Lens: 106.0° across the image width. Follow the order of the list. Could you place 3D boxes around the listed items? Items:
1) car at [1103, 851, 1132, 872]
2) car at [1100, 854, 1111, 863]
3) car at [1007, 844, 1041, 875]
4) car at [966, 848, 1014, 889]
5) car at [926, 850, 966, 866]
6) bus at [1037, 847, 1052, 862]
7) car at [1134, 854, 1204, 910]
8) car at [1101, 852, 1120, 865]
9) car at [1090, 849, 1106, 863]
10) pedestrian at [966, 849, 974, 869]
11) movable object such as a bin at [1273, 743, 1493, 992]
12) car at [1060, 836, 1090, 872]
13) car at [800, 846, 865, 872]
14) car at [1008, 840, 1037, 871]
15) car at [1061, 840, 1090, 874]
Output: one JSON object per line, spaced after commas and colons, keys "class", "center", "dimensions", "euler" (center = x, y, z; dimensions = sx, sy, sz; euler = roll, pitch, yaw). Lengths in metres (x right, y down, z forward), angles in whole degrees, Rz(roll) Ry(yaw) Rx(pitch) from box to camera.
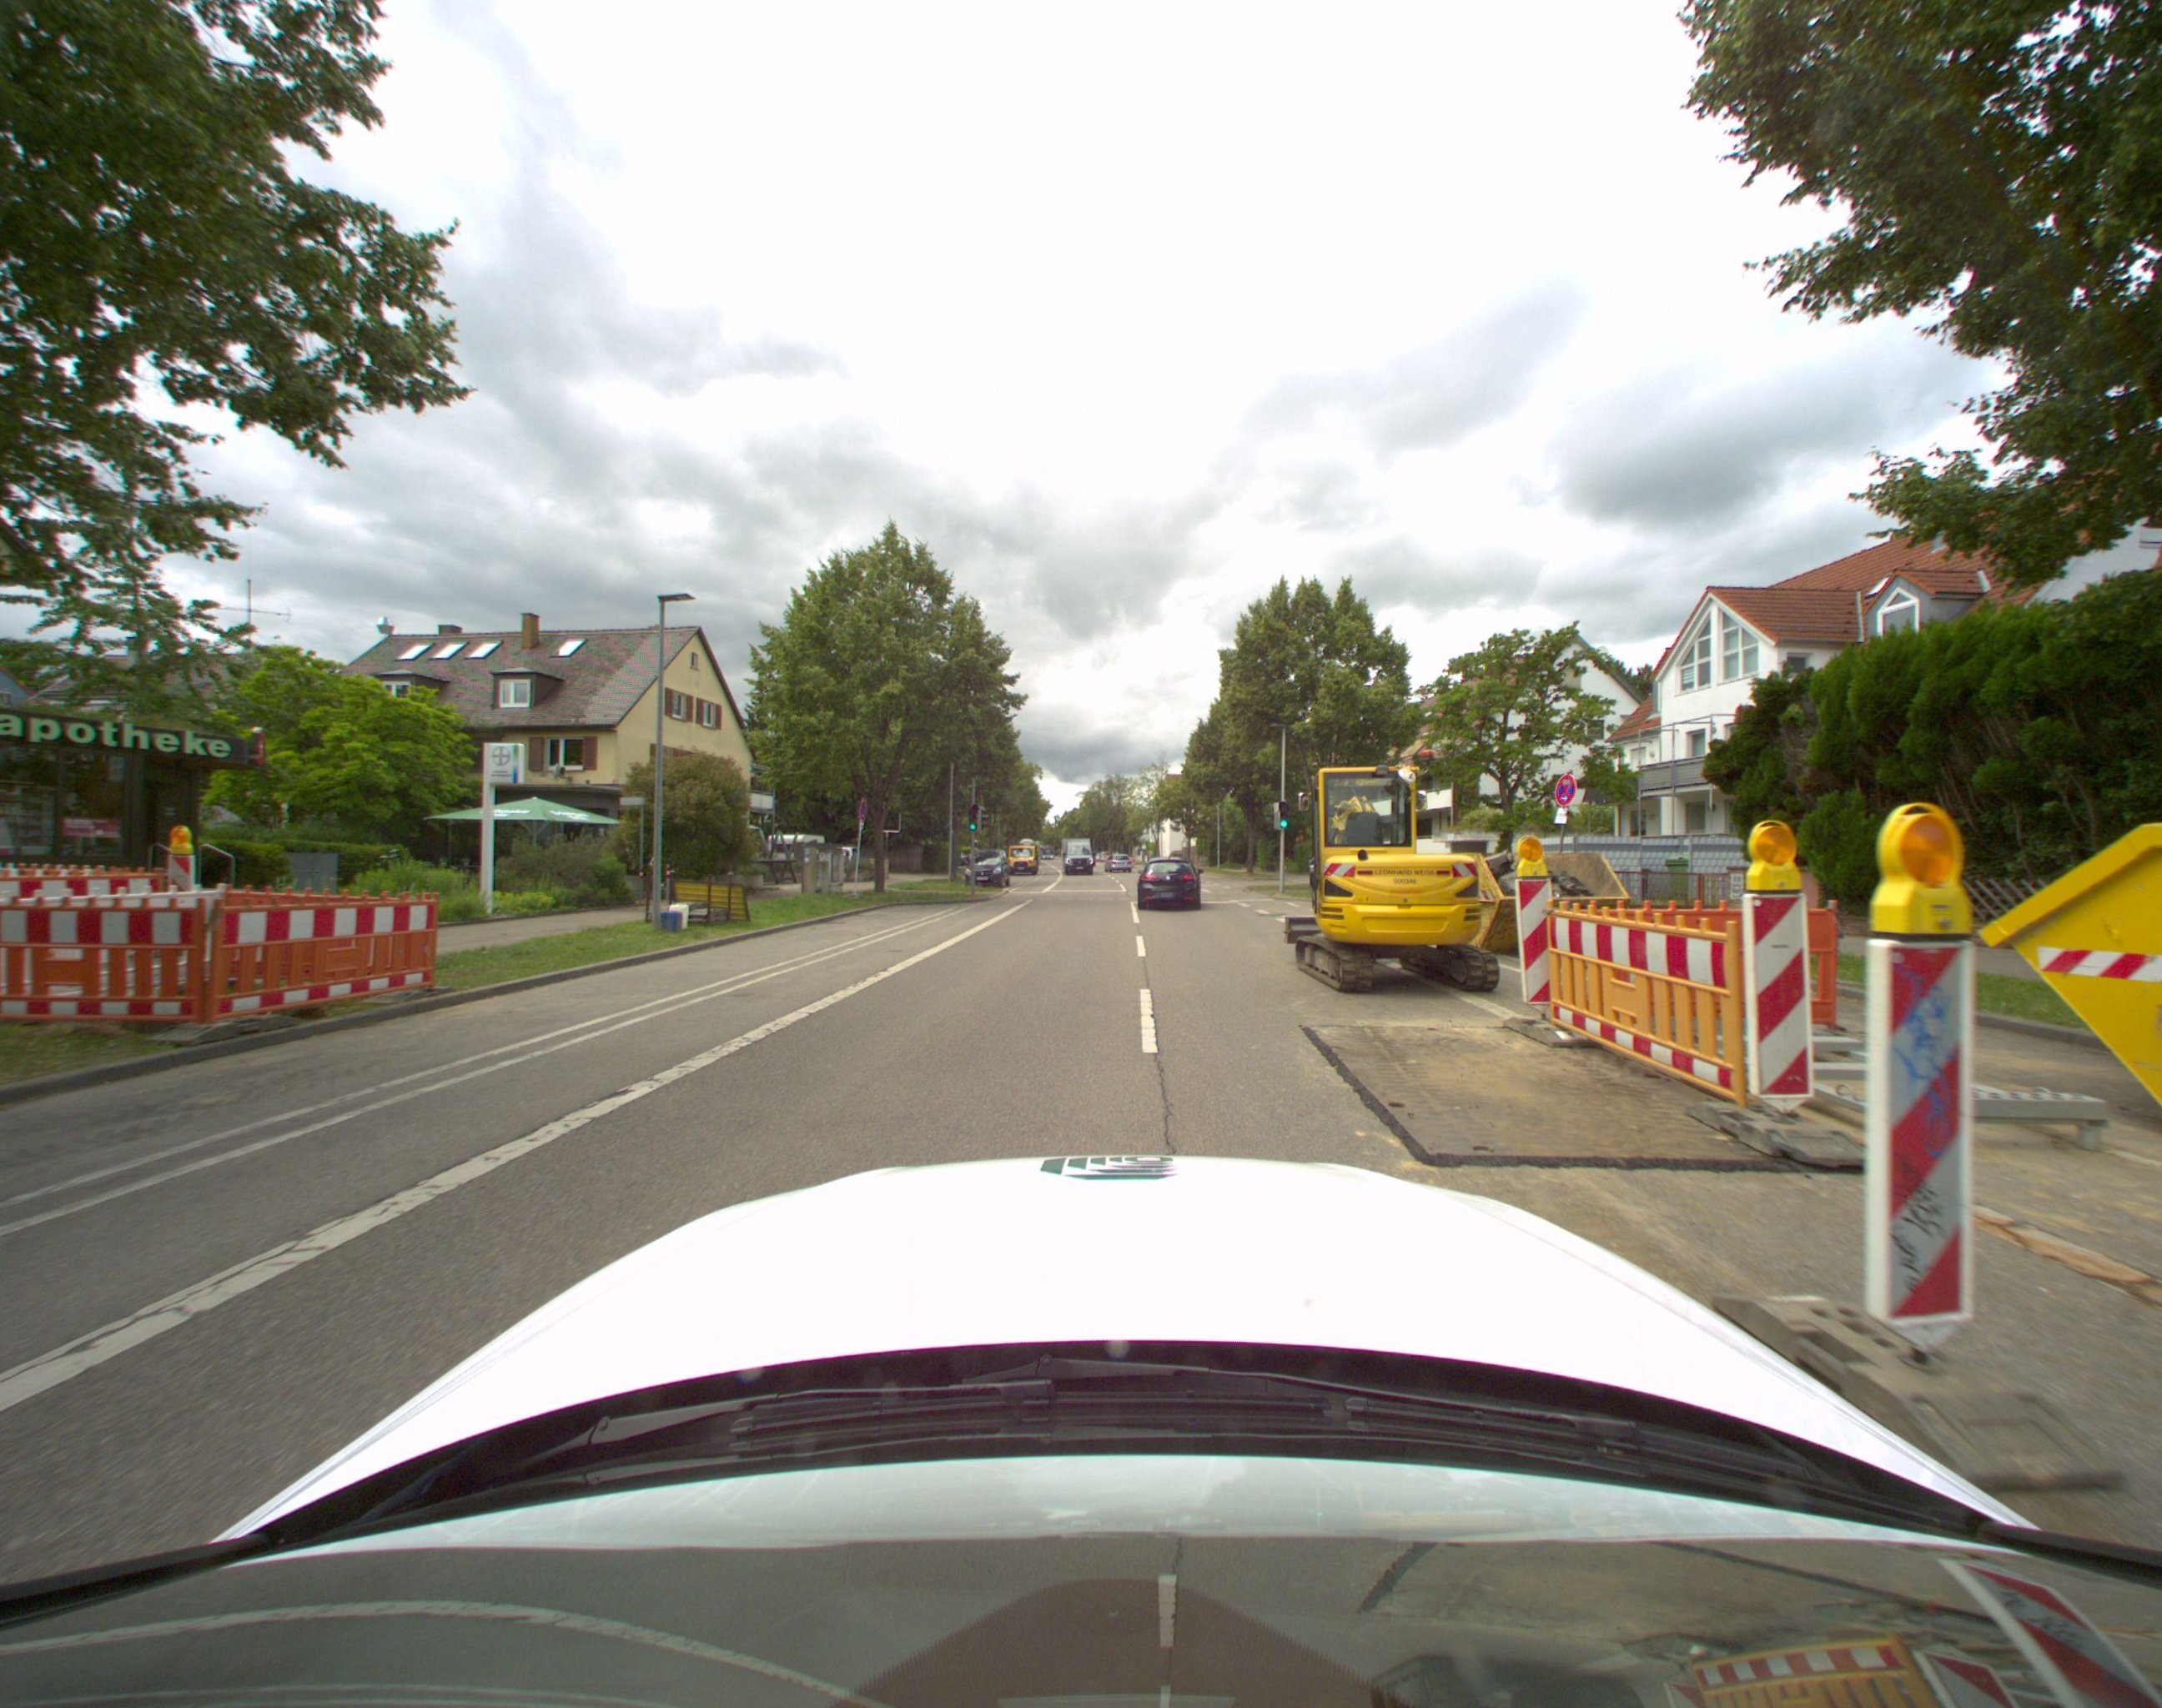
{"class": "car", "center": [3.028, 0.580, 67.562], "dimensions": [1.903, 1.685, 3.733], "euler": [-1, 0, -5]}
{"class": "car", "center": [4.063, 0.751, 134.077], "dimensions": [1.802, 1.415, 3.695], "euler": [0, 0, 3]}
{"class": "car", "center": [-4.174, 0.372, 60.328], "dimensions": [2.086, 2.175, 5.044], "euler": [0, 0, 0]}
{"class": "car", "center": [-4.246, 0.634, 38.556], "dimensions": [1.661, 1.772, 4.468], "euler": [-1, 0, 1]}
{"class": "car", "center": [-13.533, 0.364, 81.697], "dimensions": [3.671, 1.594, 1.678], "euler": [0, 0, -1]}
{"class": "bus", "center": [-5.221, 0.083, 118.078], "dimensions": [1.988, 2.123, 7.355], "euler": [0, 0, -1]}
{"class": "car", "center": [2.519, 0.748, 23.389], "dimensions": [1.810, 1.437, 3.746], "euler": [-1, 0, 6]}
{"class": "car", "center": [3.321, 0.519, 92.512], "dimensions": [1.806, 1.415, 3.689], "euler": [0, 0, -3]}
{"class": "car", "center": [2.037, 0.266, 98.743], "dimensions": [1.785, 1.623, 3.739], "euler": [-1, 0, 0]}
{"class": "pedestrian", "center": [-9.510, 0.415, 69.599], "dimensions": [0.593, 1.741, 0.574], "euler": [0, 0, -1]}
{"class": "movable object such as a bin", "center": [3.586, 0.137, 10.379], "dimensions": [1.759, 2.574, 3.746], "euler": [0, 0, 6]}
{"class": "car", "center": [-0.409, -0.013, 66.919], "dimensions": [2.280, 2.792, 7.144], "euler": [-1, 0, 1]}
{"class": "car", "center": [-17.327, 0.375, 56.872], "dimensions": [3.965, 1.769, 1.749], "euler": [0, -1, 7]}
{"class": "car", "center": [-5.055, 0.106, 71.152], "dimensions": [2.086, 2.626, 5.044], "euler": [0, 0, 0]}
{"class": "car", "center": [-0.341, 0.239, 60.745], "dimensions": [2.022, 2.385, 5.262], "euler": [-1, 0, 1]}
